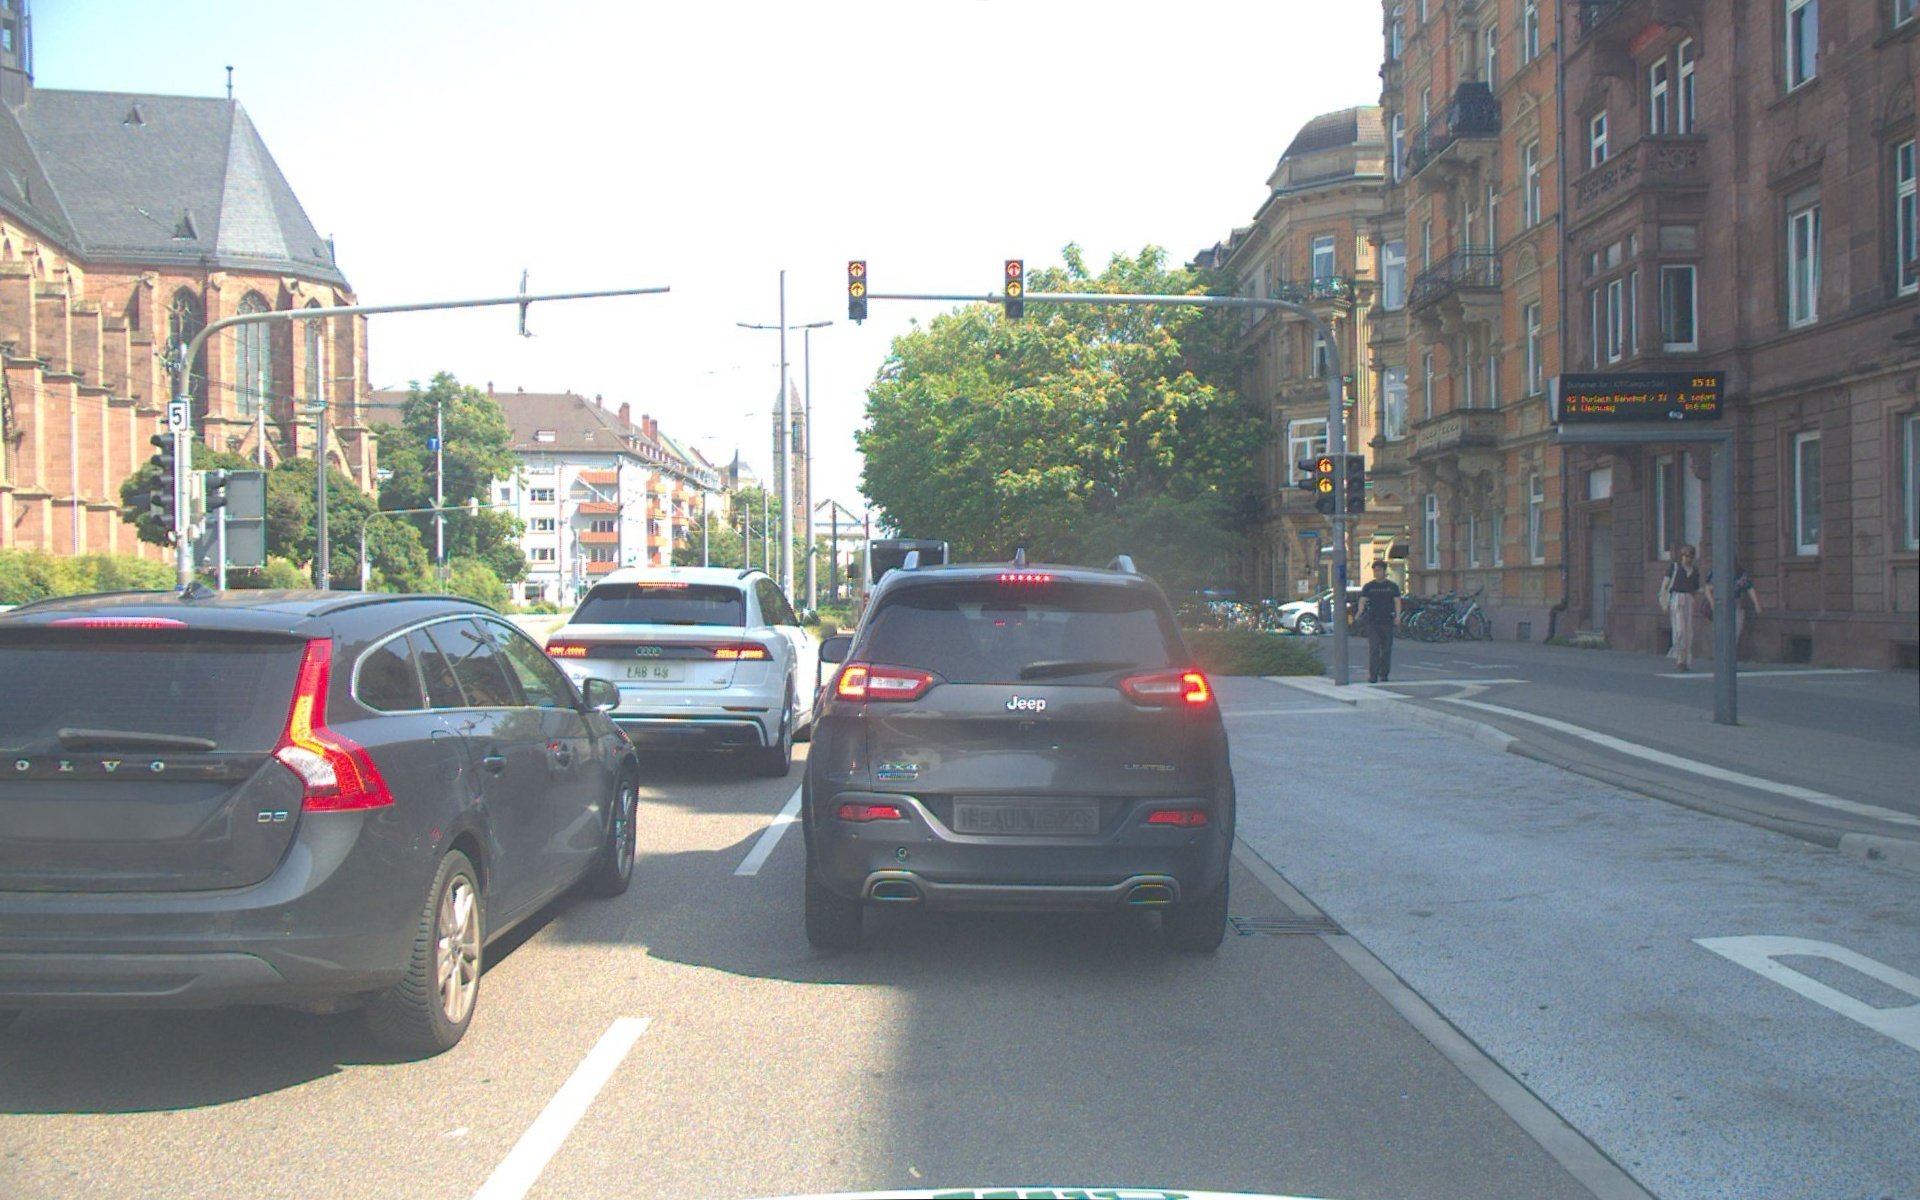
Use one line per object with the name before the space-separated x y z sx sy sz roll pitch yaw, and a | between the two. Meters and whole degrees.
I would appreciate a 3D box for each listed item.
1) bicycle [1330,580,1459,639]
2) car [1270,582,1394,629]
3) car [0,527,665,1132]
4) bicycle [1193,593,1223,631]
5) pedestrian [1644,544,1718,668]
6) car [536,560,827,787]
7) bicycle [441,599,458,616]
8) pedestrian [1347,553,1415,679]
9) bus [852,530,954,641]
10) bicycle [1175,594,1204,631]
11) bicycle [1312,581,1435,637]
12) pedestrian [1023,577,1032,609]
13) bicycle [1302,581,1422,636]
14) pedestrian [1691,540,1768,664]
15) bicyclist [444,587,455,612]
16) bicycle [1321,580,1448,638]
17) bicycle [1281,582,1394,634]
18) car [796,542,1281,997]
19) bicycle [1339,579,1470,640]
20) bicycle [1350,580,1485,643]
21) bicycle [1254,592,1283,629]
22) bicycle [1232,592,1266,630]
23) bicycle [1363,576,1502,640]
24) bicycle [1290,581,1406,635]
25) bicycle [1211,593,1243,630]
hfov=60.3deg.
bicycle | 10.740 0.223 40.929 2.933 1.395 0.871 -1 0 -2
car | 12.944 0.191 57.676 3.858 1.547 1.680 -1 0 -8
car | -2.413 0.611 6.661 1.712 1.642 4.308 1 0 -1
bicycle | 8.772 0.405 58.581 0.636 1.275 3.014 -1 0 1
pedestrian | 10.700 0.086 24.567 0.700 1.807 0.847 -1 0 -2
car | -2.246 0.528 14.474 1.863 1.680 4.308 0 0 -1
bicycle | -27.425 0.382 88.917 0.444 0.874 1.476 -1 0 1
pedestrian | 6.099 0.232 23.939 0.879 1.771 0.769 -2 0 15
bus | -2.007 -0.413 53.083 2.689 3.161 11.943 0 0 -5
bicycle | 8.124 0.419 58.595 0.636 1.275 3.014 -1 0 1
bicycle | 10.722 0.225 42.967 2.943 1.397 0.947 -1 0 -2
pedestrian | 4.473 -0.467 108.931 0.518 2.049 0.532 -1 0 -3
bicycle | 10.670 0.223 43.977 2.943 1.397 0.947 -1 0 -2
pedestrian | 11.429 0.029 24.575 0.700 1.809 0.870 -1 0 -2
bicyclist | -27.428 -0.013 88.909 0.439 1.344 0.425 -1 0 0
bicycle | 10.726 0.212 41.873 2.943 1.397 0.947 -1 0 -2
bicycle | 10.559 0.222 46.334 2.943 1.397 0.947 -1 0 -2
car | 0.309 0.616 8.331 1.795 1.680 4.308 1 0 0
bicycle | 10.730 0.228 39.981 2.933 1.395 0.871 -1 0 -2
bicycle | 10.782 0.265 39.069 2.933 1.395 0.871 -1 0 -2
bicycle | 11.012 0.365 59.062 0.644 1.271 2.413 -1 0 2
bicycle | 10.230 0.381 58.616 0.747 1.275 3.014 -1 0 2
bicycle | 10.885 0.175 38.165 2.933 1.395 0.871 -1 0 -2
bicycle | 10.614 0.208 45.293 2.943 1.397 0.947 -1 0 -2
bicycle | 9.457 0.395 58.590 0.717 1.275 3.014 -1 0 2
